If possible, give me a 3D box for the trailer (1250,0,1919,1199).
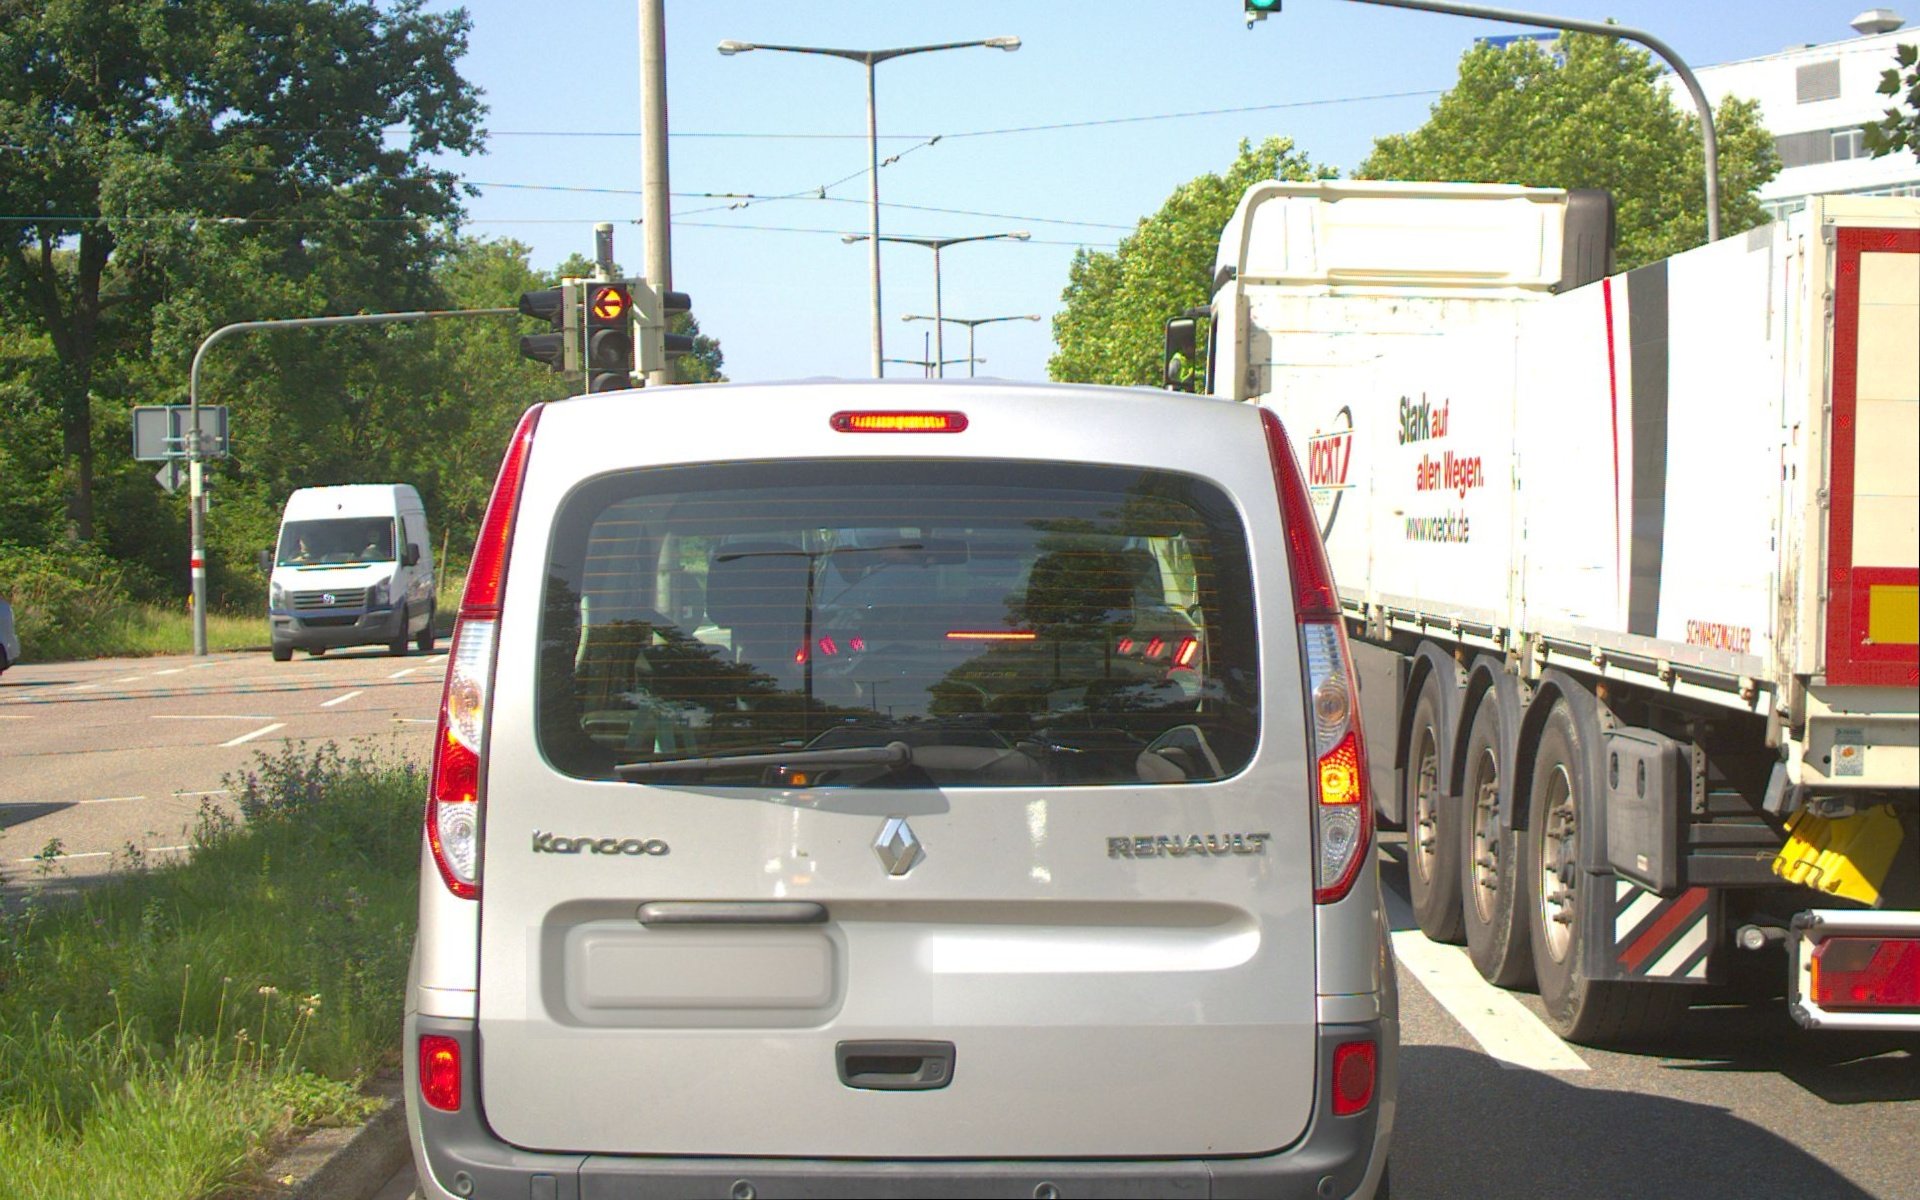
[{"bbox_3d":[3.083,-0.715,13.100,3.016,3.728,12.240,0,1,0],"label":"trailer"}]

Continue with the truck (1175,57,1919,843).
[{"bbox_3d":[3.066,-0.762,20.130,3.071,3.745,7.476,0,1,-1],"label":"truck"}]

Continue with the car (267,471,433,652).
[{"bbox_3d":[-9.224,-0.592,52.412,2.058,2.605,5.871,0,1,-6],"label":"car"}]

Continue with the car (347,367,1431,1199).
[{"bbox_3d":[-0.121,0.481,7.532,1.749,1.766,3.949,0,1,0],"label":"car"}]

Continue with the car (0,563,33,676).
[{"bbox_3d":[-13.713,0.255,42.231,1.915,1.404,4.219,0,1,37],"label":"car"}]
